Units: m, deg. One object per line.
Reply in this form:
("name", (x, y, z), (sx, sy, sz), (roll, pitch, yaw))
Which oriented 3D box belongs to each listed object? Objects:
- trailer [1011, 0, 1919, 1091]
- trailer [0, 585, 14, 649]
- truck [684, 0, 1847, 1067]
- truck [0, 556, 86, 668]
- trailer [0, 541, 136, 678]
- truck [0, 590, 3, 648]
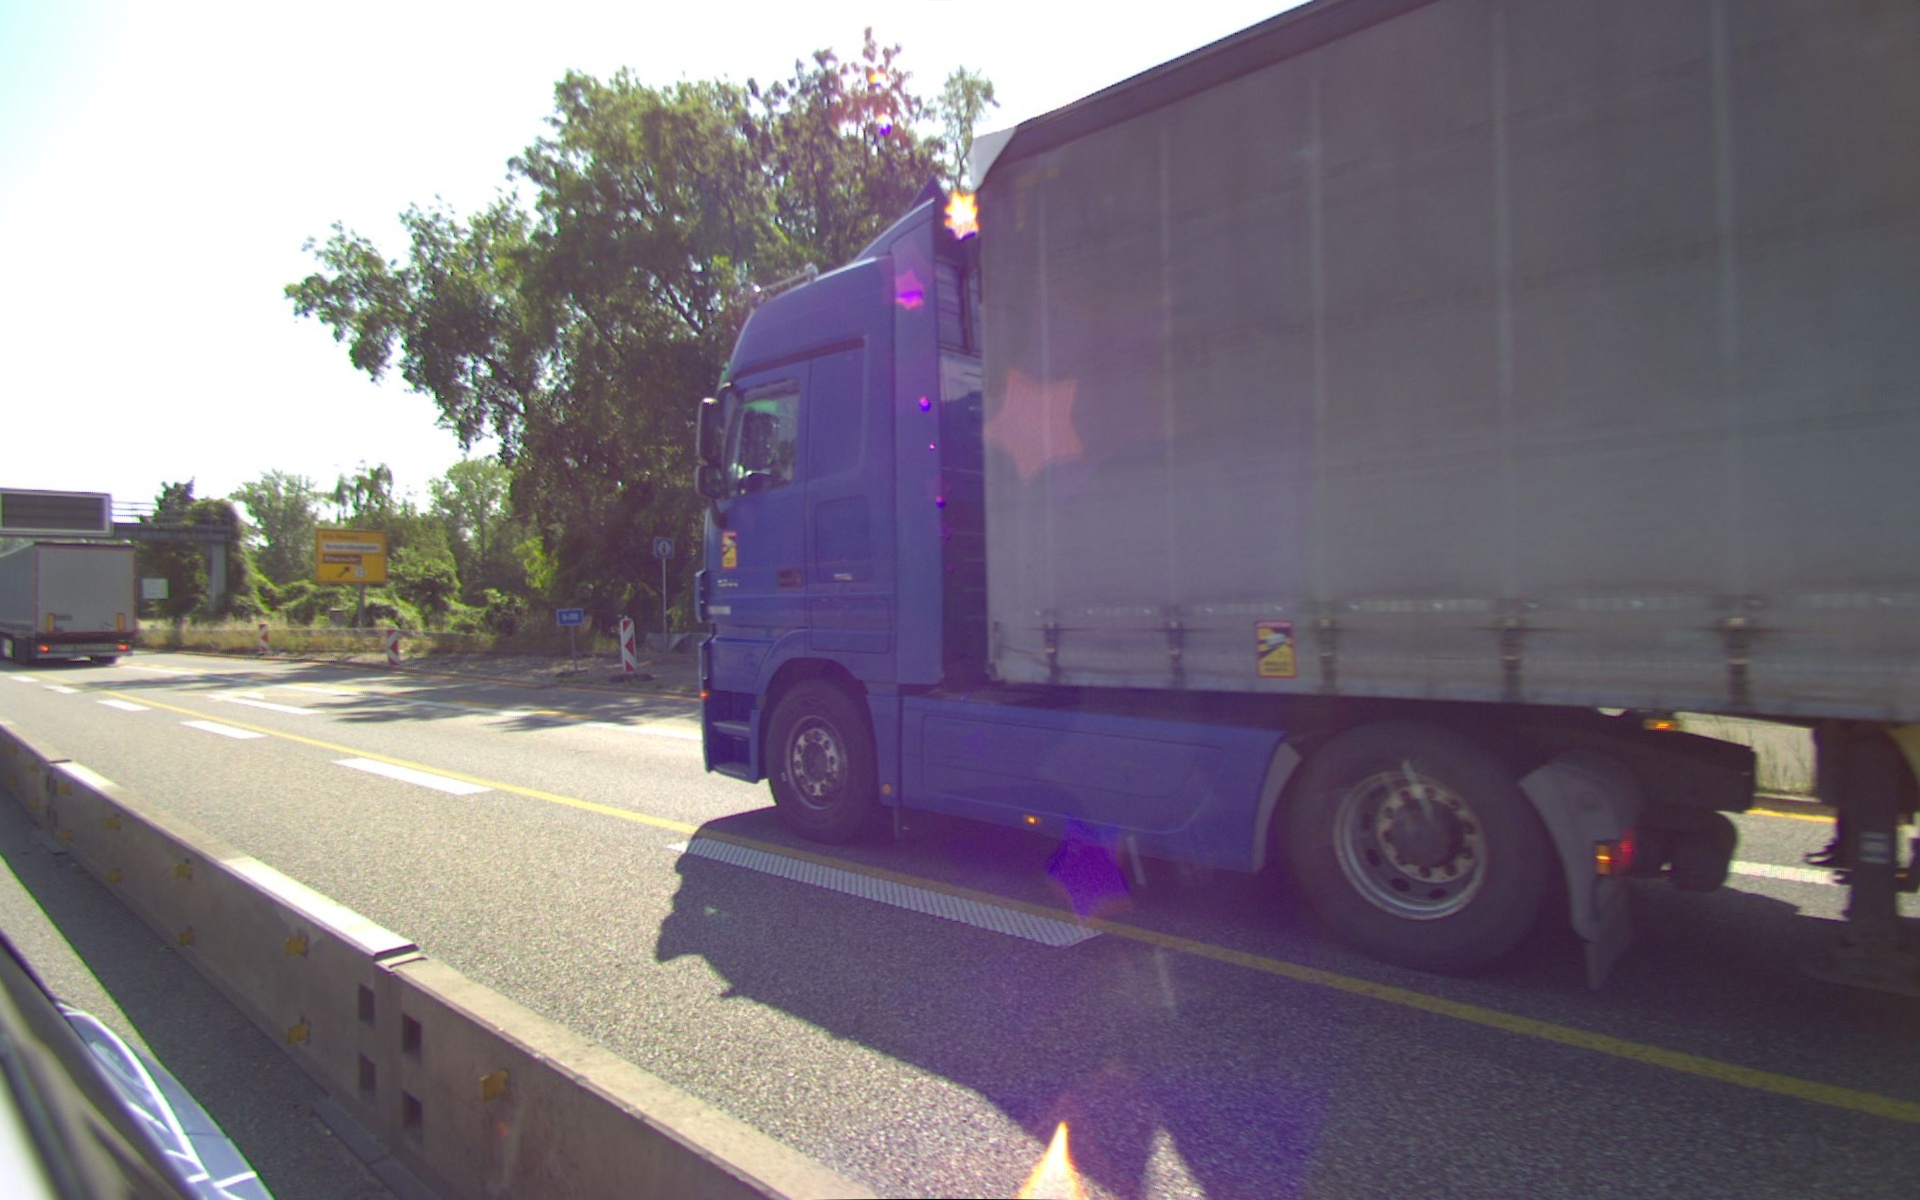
("trailer", (6.239, -0.700, 1.705), (13.461, 4.073, 2.774), (-2, -2, 41))
("trailer", (-66.929, 1.165, 68.864), (12.342, 4.136, 3.012), (-1, -1, 43))
("truck", (1.259, -0.550, 6.078), (5.982, 4.020, 2.785), (-2, -2, 41))
("truck", (-37.600, 0.500, 40.925), (6.504, 4.159, 2.592), (-1, -1, 42))
("trailer", (-32.752, 0.381, 36.472), (14.063, 4.159, 2.592), (-1, -1, 42))
("truck", (-72.089, 1.381, 73.733), (7.643, 4.136, 3.012), (-1, -1, 43))
